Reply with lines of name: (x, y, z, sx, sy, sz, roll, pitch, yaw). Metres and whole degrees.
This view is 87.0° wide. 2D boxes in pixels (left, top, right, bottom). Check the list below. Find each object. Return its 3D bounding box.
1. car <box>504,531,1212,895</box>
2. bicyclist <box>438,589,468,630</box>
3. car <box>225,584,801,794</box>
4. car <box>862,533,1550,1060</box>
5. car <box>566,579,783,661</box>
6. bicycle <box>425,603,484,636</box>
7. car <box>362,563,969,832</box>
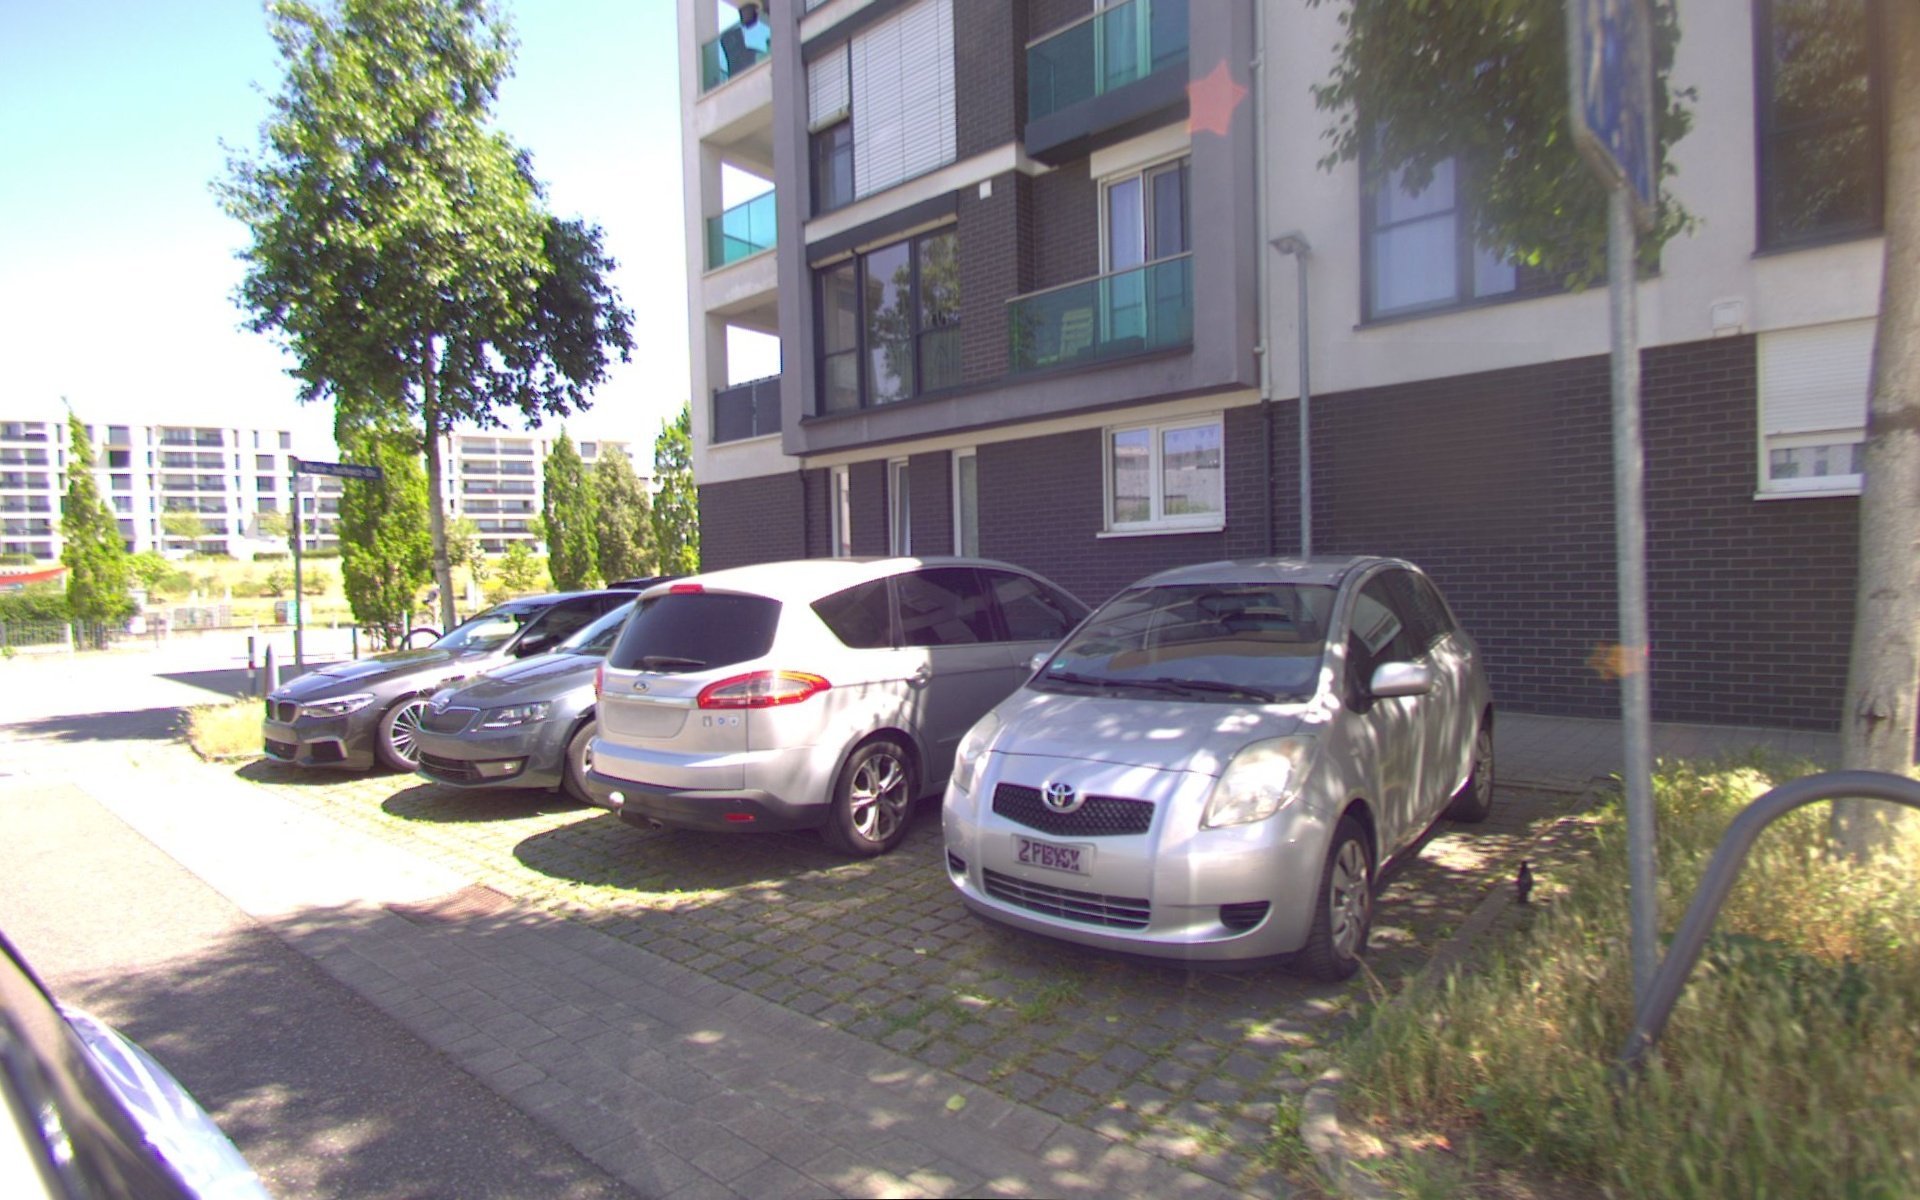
car: (-0.267, 0.438, 7.149, 2.040, 1.644, 4.979, -1, 1, 39)
bicyclist: (-18.971, 0.357, 37.873, 0.868, 1.466, 0.862, -3, 1, -32)
car: (-4.185, 0.656, 10.348, 1.926, 1.496, 5.049, 0, 2, 39)
car: (1.639, 0.487, 5.198, 1.820, 1.542, 4.211, -1, 2, 38)
car: (-6.087, 0.391, 22.027, 1.776, 1.531, 4.344, -3, 0, 36)
bicycle: (-18.937, 0.710, 37.910, 1.883, 1.126, 0.801, -3, 1, -32)
car: (-2.133, 0.541, 8.682, 1.826, 1.459, 4.772, 0, 4, 39)
